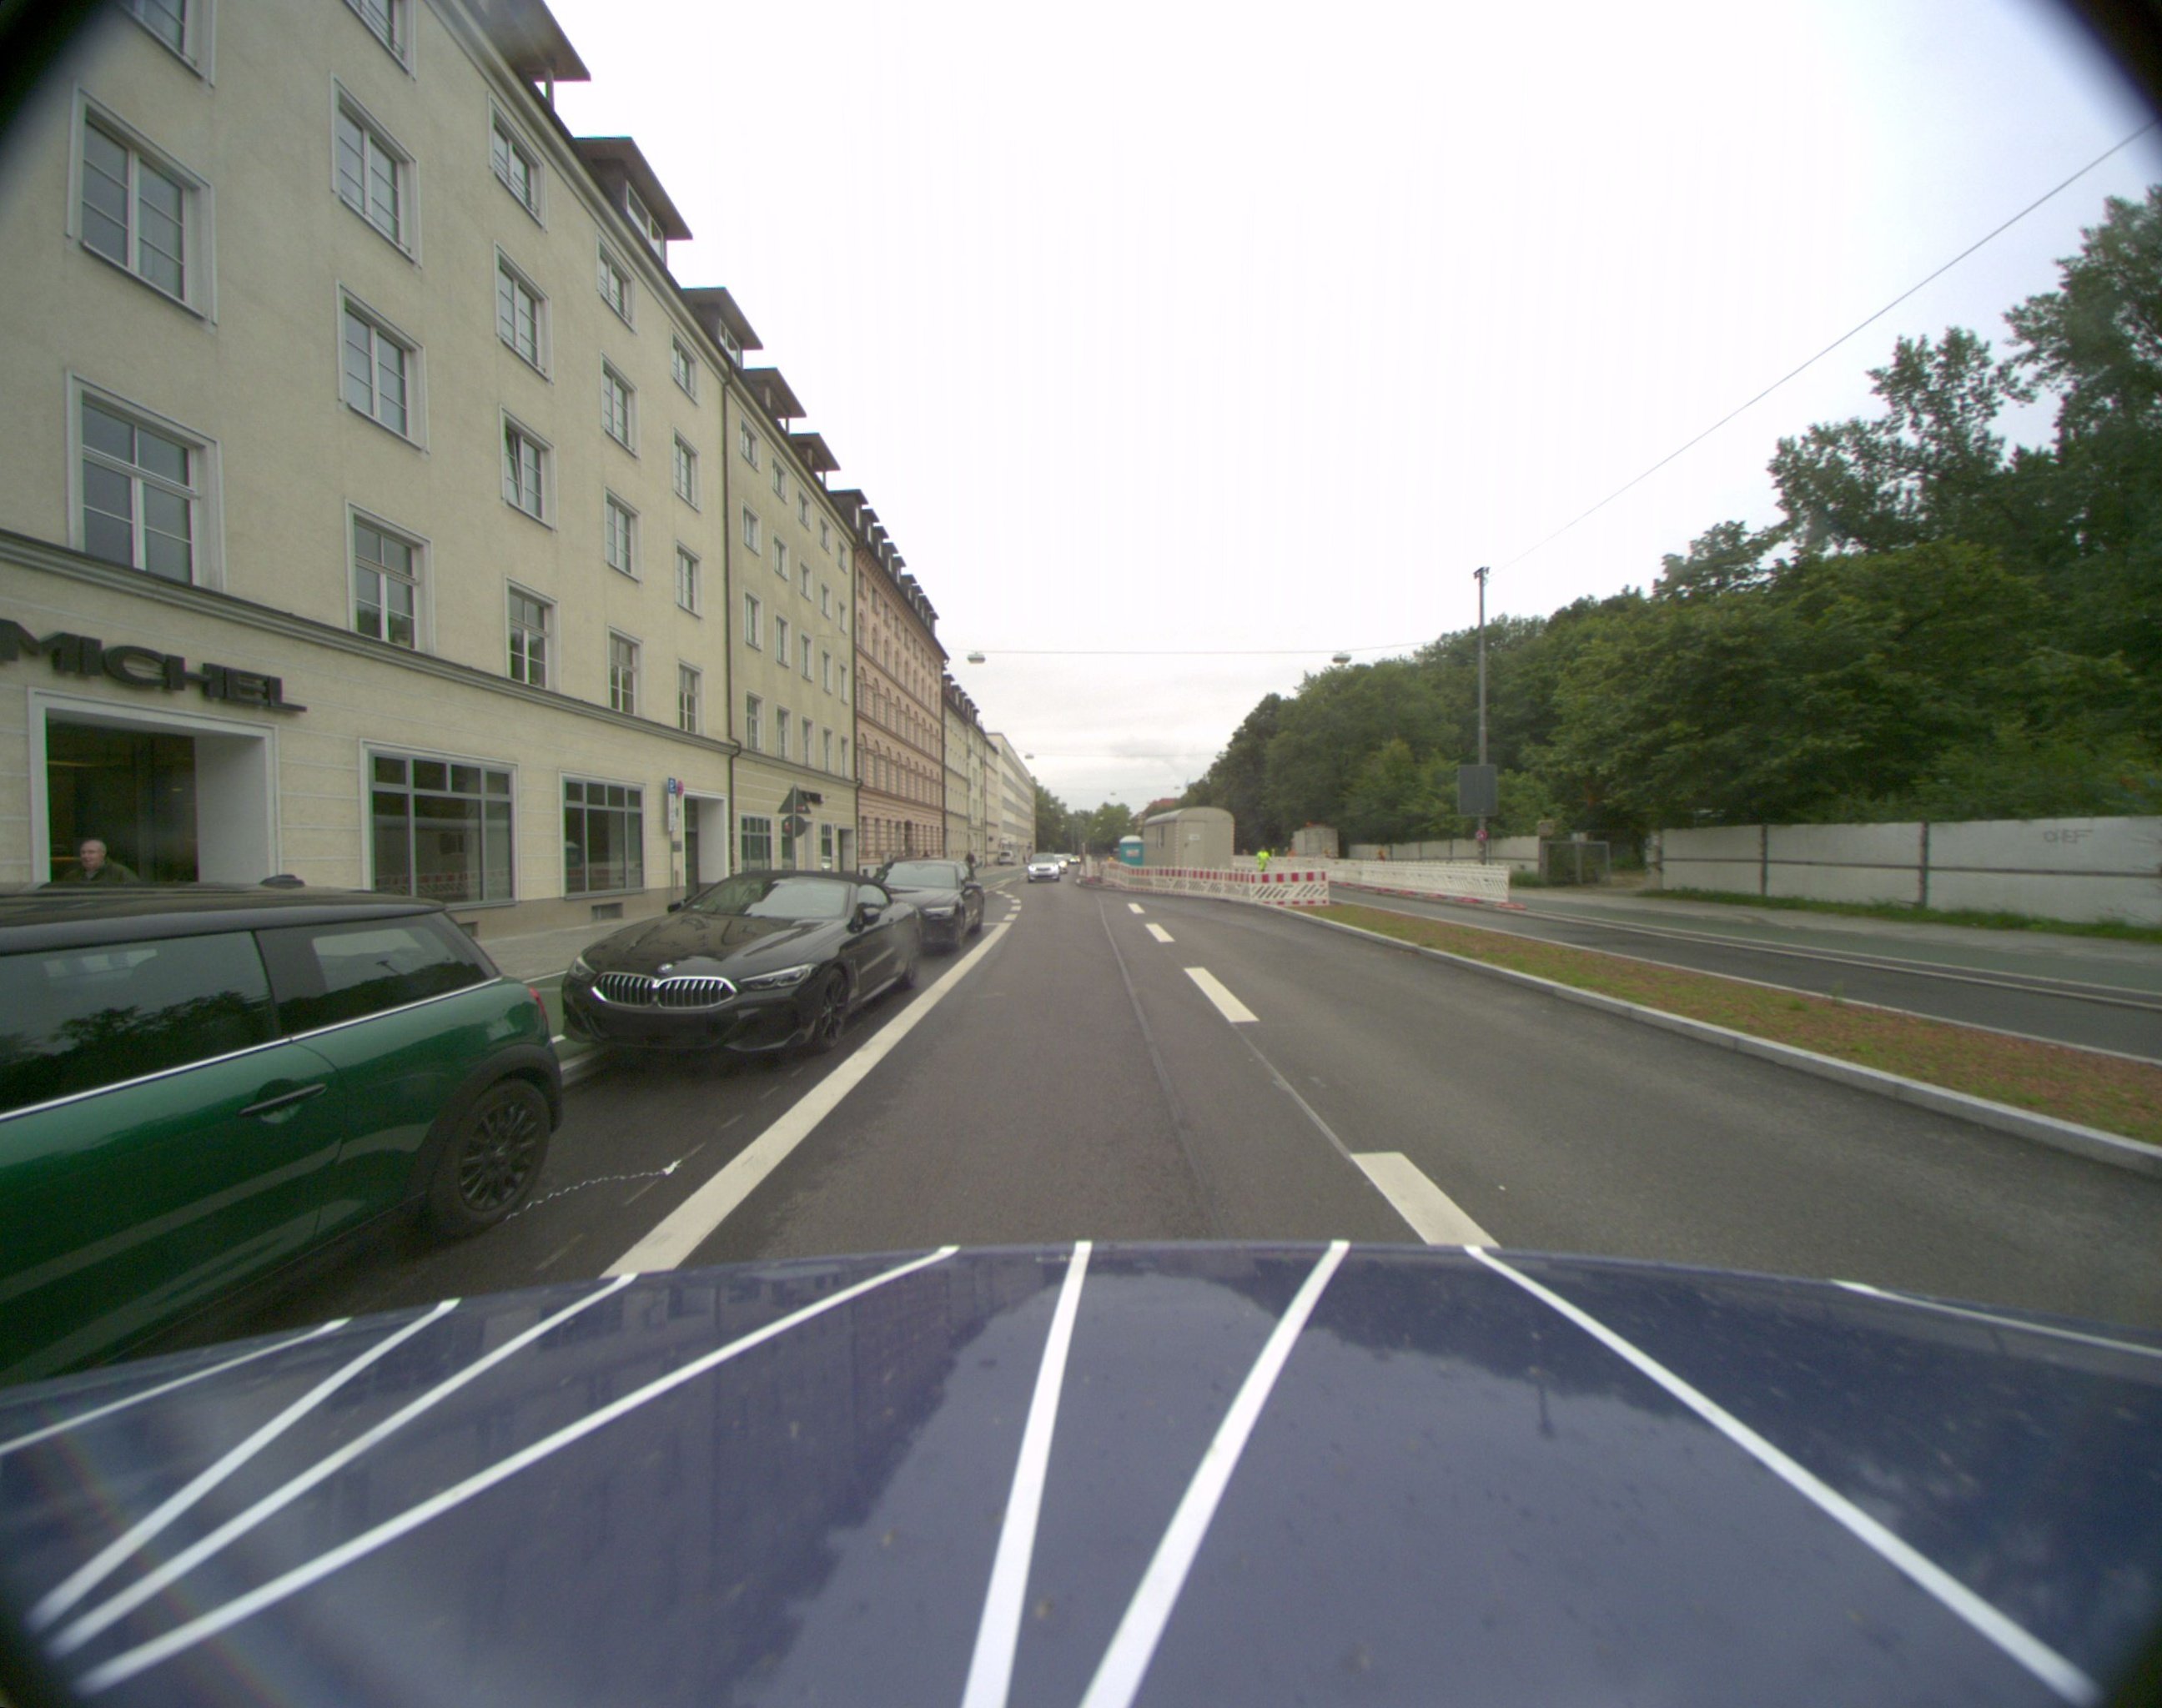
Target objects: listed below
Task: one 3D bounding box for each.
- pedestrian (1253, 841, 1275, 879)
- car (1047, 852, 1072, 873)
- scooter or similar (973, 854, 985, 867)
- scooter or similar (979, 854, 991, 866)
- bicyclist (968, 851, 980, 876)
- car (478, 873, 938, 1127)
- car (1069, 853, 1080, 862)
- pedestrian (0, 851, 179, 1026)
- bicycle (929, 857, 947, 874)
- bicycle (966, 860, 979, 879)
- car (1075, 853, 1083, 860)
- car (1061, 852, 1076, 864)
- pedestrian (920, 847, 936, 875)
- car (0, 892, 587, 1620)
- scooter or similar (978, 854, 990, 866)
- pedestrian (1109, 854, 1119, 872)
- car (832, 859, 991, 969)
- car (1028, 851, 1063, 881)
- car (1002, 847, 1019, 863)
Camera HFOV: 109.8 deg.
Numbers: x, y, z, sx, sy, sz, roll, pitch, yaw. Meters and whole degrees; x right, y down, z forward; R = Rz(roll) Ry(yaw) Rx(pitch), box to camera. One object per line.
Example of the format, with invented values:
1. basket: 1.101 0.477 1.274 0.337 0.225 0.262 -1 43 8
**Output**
1. pedestrian: 9.525 0.316 39.541 0.890 1.930 0.875 -1 1 -2
2. car: -1.686 0.606 57.848 1.759 1.461 3.998 -2 0 -4
3. scooter or similar: -9.717 0.596 72.337 0.552 1.238 1.079 0 1 35
4. scooter or similar: -9.709 0.604 76.854 1.078 1.185 0.453 -1 1 -29
5. bicyclist: -6.126 0.543 43.518 0.632 1.459 0.652 -1 1 -6
6. car: -2.793 0.982 7.140 1.830 1.399 4.719 -2 0 2
7. car: -1.173 0.665 131.990 1.759 1.461 3.999 -2 0 -1
8. pedestrian: -10.159 0.813 7.822 0.782 1.679 0.860 0 1 -21
9. bicycle: -10.043 0.775 53.449 0.556 1.170 1.727 0 1 15
10. bicycle: -6.191 0.853 43.498 0.632 1.031 2.016 -1 1 -6
11. car: -0.466 0.470 173.758 1.759 1.461 3.999 -2 0 -1
12. car: -1.620 0.493 98.186 1.759 1.461 3.999 -2 0 -1
13. pedestrian: -9.491 0.444 47.253 0.795 1.735 0.833 -1 1 1
14. car: -3.270 0.977 1.710 1.679 1.512 3.829 -2 0 2
15. scooter or similar: -9.972 0.612 78.191 1.079 1.185 0.436 -1 1 -39
16. pedestrian: 3.442 0.914 79.398 0.860 1.826 0.874 -1 1 -7
17. car: -2.754 0.898 13.408 1.813 1.472 4.461 3 0 -1
18. car: -1.944 0.621 40.952 1.759 1.461 3.998 -2 0 -4
19. car: -8.754 0.102 94.428 1.766 1.821 3.999 -1 1 0
